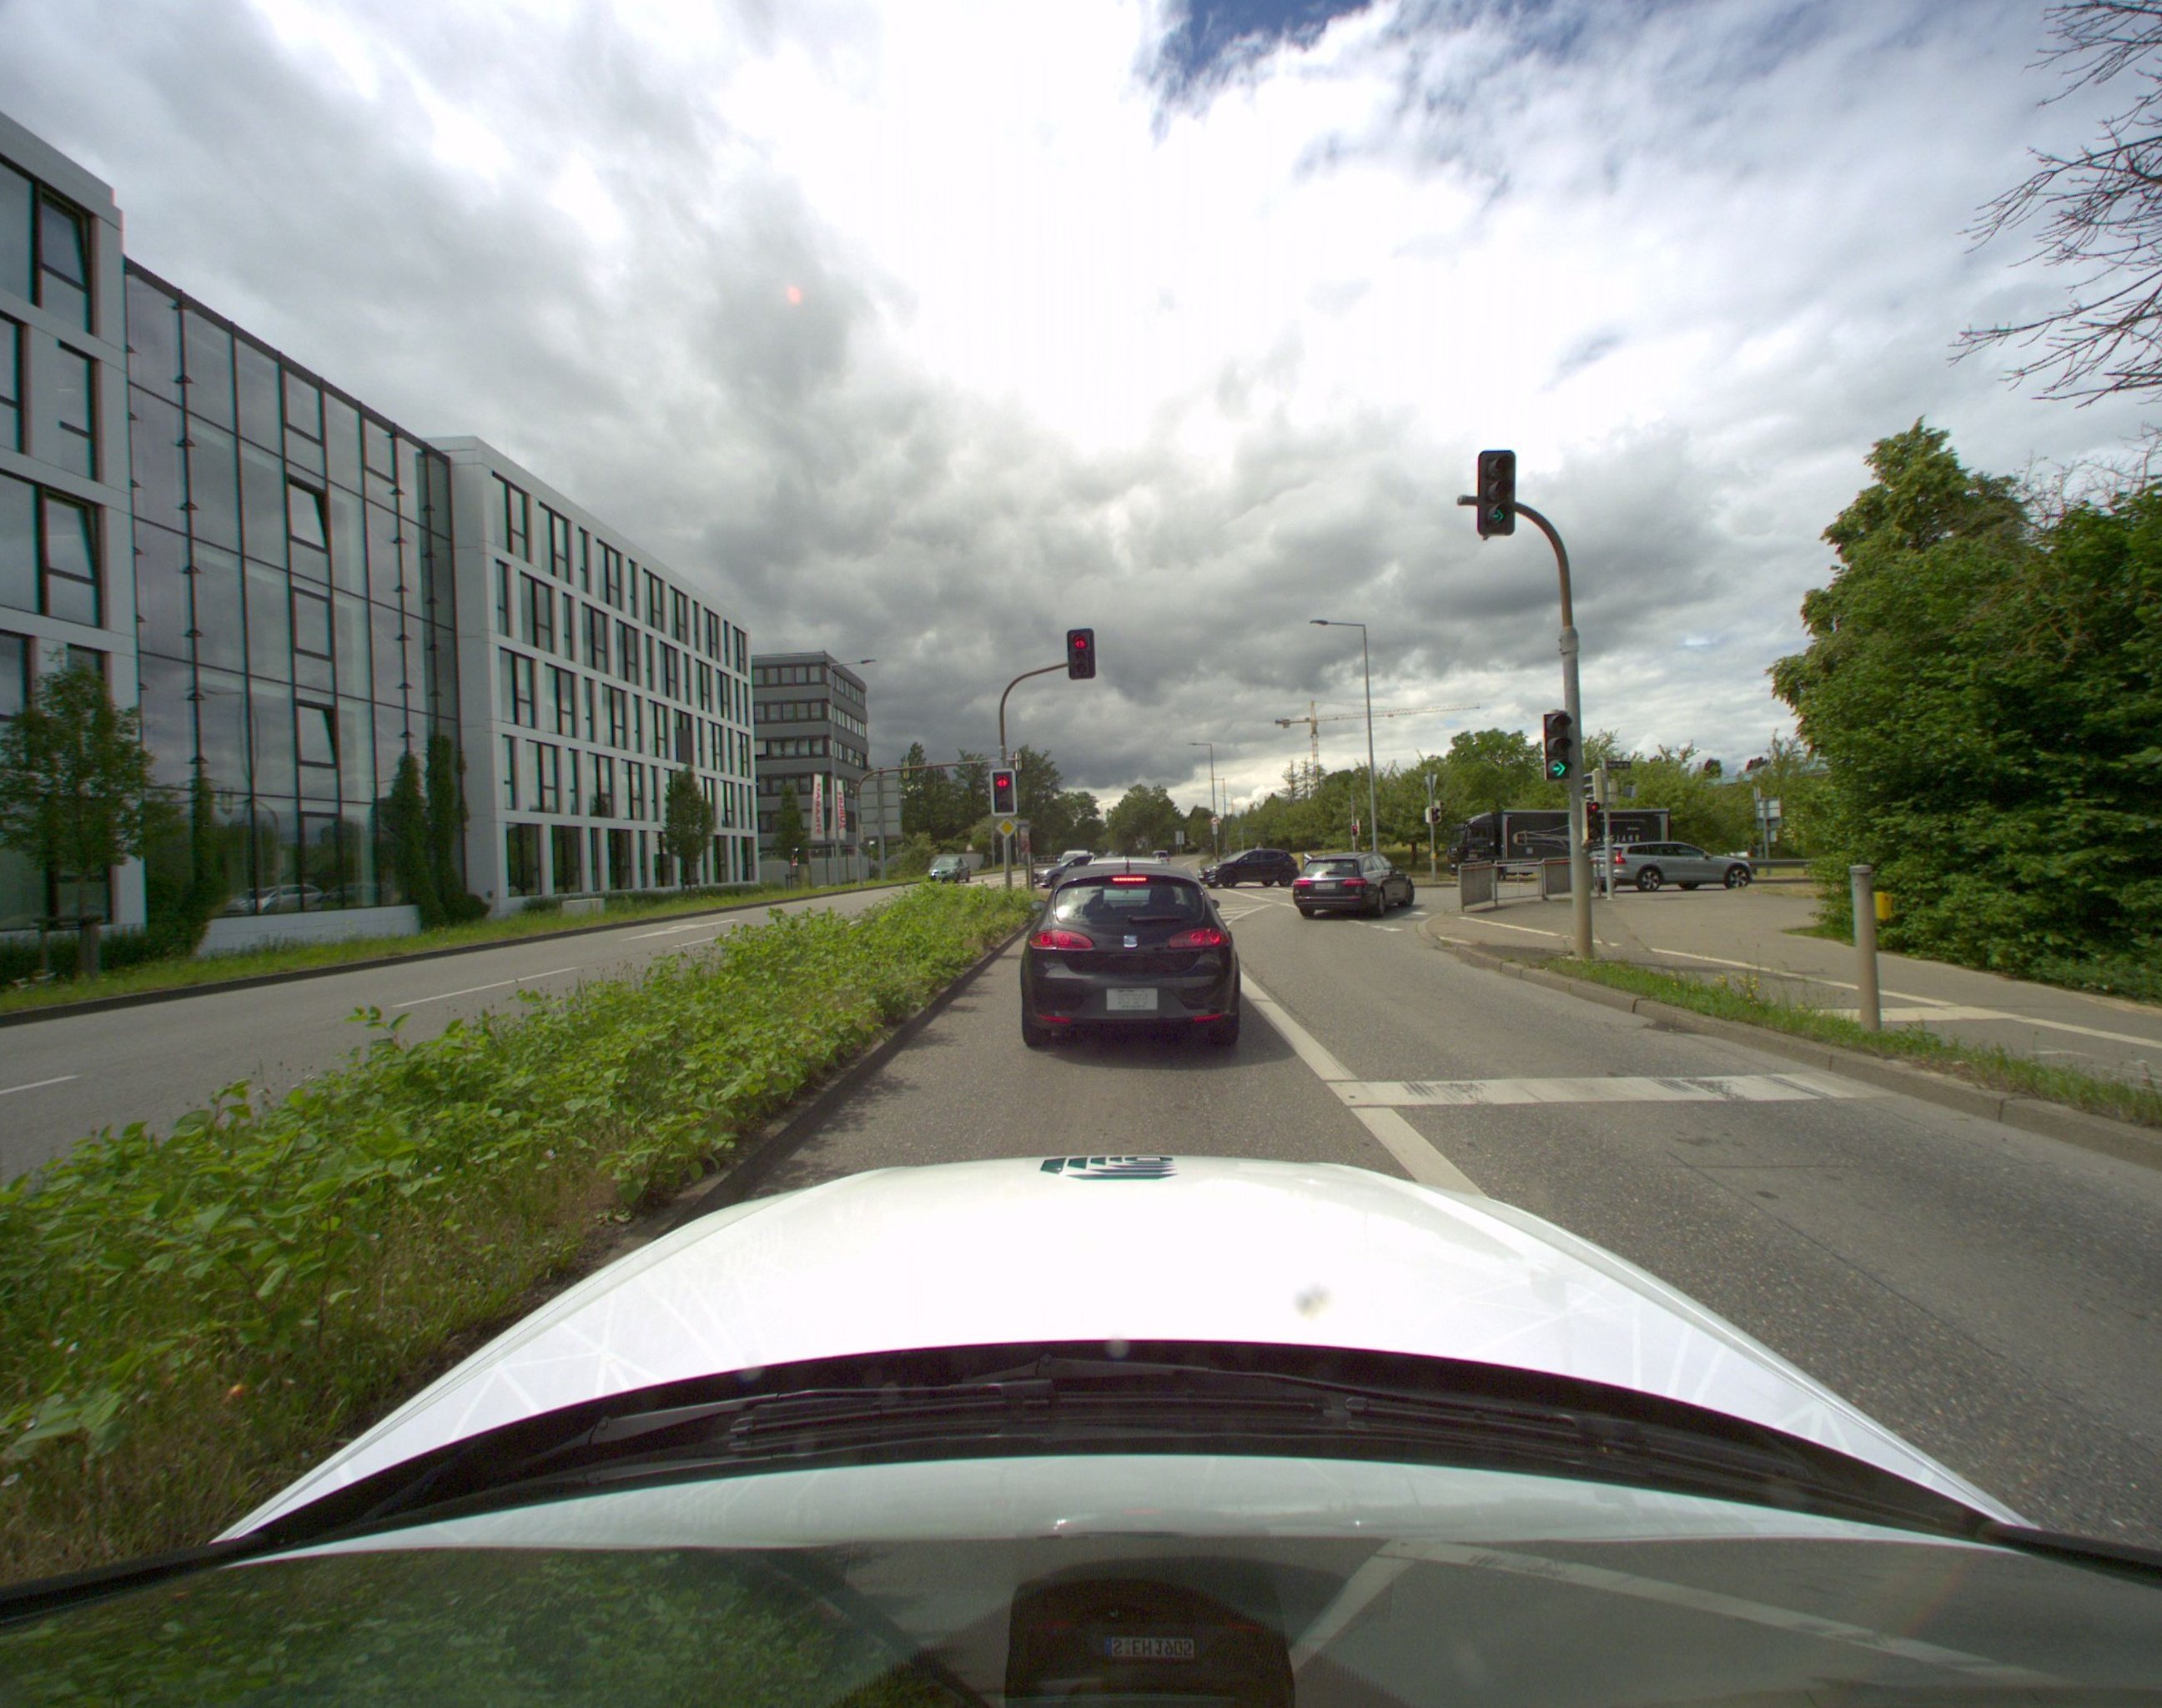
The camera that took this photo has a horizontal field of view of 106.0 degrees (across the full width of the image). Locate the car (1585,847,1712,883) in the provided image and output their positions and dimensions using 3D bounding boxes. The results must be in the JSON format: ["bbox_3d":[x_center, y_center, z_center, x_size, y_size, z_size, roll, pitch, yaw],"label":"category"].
[{"bbox_3d":[24.171,0.462,34.837,3.962,1.420,2.006,-1,0,10],"label":"car"}]

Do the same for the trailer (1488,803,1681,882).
[{"bbox_3d":[23.624,-0.523,38.500,7.539,3.458,2.005,-1,0,9],"label":"trailer"}]

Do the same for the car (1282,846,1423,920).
[{"bbox_3d":[6.715,0.625,19.719,1.854,1.440,5.233,-3,0,34],"label":"car"}]

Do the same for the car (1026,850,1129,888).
[{"bbox_3d":[-0.187,0.683,37.572,4.315,1.525,1.988,-2,0,-18],"label":"car"}]

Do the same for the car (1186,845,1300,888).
[{"bbox_3d":[6.904,0.526,34.804,4.310,1.615,1.990,-2,0,-14],"label":"car"}]

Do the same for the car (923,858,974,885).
[{"bbox_3d":[-7.230,0.918,44.813,1.986,1.352,4.002,-1,0,2],"label":"car"}]

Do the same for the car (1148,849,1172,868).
[{"bbox_3d":[6.867,0.393,71.083,1.984,1.530,4.005,-2,0,5],"label":"car"}]

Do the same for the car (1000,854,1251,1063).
[{"bbox_3d":[0.373,0.750,7.607,1.766,1.451,3.584,-1,0,2],"label":"car"}]

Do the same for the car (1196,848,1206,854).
[{"bbox_3d":[26.795,-0.690,182.184,1.981,1.352,4.011,-1,0,10],"label":"car"}]

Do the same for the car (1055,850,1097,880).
[{"bbox_3d":[-0.251,0.625,47.271,1.984,1.596,4.006,-2,0,5],"label":"car"}]

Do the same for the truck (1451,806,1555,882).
[{"bbox_3d":[20.153,-0.454,39.043,3.963,3.469,2.006,-1,0,9],"label":"truck"}]

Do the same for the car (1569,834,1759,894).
[{"bbox_3d":[17.429,0.282,24.475,4.422,1.518,1.867,-3,0,-4],"label":"car"}]

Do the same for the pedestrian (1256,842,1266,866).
[{"bbox_3d":[13.023,-0.012,58.973,0.556,1.726,0.588,-1,0,2],"label":"pedestrian"}]

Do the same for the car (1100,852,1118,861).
[{"bbox_3d":[4.092,0.346,119.332,1.981,1.352,4.011,-1,0,10],"label":"car"}]

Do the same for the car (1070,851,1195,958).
[{"bbox_3d":[0.751,0.734,13.779,1.768,1.491,3.581,-3,0,0],"label":"car"}]
